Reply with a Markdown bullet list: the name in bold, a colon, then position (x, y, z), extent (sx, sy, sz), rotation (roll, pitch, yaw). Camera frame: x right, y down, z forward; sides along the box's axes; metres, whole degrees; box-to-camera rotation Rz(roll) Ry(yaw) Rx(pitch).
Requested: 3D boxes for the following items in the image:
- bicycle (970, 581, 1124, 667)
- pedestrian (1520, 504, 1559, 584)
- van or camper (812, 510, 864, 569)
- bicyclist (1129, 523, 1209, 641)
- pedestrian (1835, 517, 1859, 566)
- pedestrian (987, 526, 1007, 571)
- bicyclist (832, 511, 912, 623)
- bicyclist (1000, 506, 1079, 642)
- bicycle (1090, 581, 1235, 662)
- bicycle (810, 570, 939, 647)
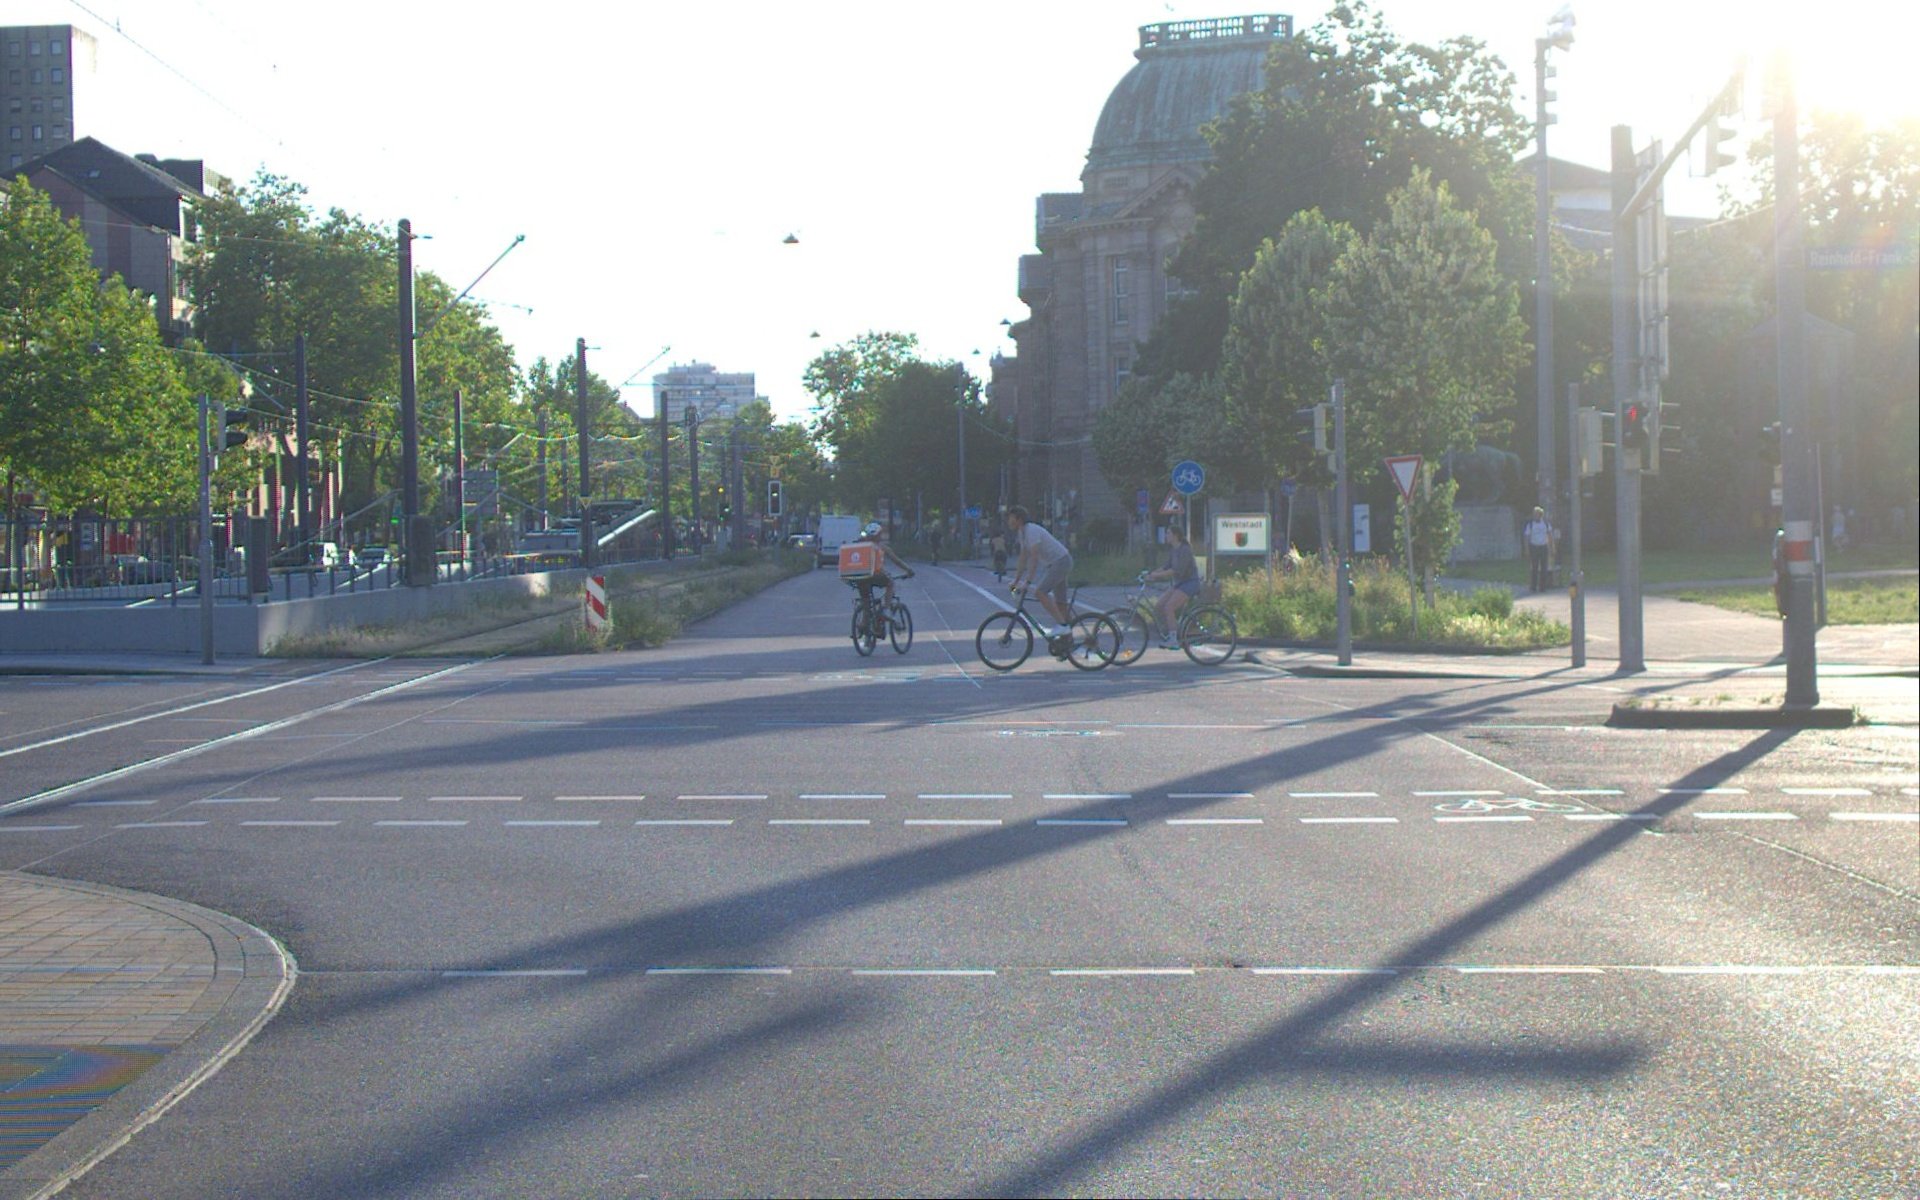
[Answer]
- **bicycle**: position (1.022, 0.277, 40.607), extent (1.728, 0.966, 0.610), rotation (-1, 2, -9)
- **pedestrian**: position (11.987, -1.162, 71.129), extent (0.682, 1.605, 0.613), rotation (-1, 2, -1)
- **van or camper**: position (-5.747, -2.860, 161.940), extent (2.263, 2.616, 4.503), rotation (-1, 2, 0)
- **bicyclist**: position (2.606, -0.234, 42.994), extent (0.853, 1.437, 0.663), rotation (-2, 2, -9)
- **pedestrian**: position (30.843, -2.027, 119.566), extent (0.798, 1.696, 0.800), rotation (0, 1, 14)
- **pedestrian**: position (1.241, -1.726, 115.048), extent (0.616, 1.470, 0.800), rotation (-1, 2, 3)
- **bicyclist**: position (-1.163, -0.444, 45.634), extent (0.662, 1.437, 0.854), rotation (3, 4, 41)
- **bicyclist**: position (0.933, -0.318, 40.556), extent (0.797, 1.566, 0.663), rotation (-2, 2, -9)
- **bicycle**: position (2.532, 0.261, 43.000), extent (1.718, 0.966, 0.610), rotation (-1, 2, -9)
- **bicycle**: position (-1.134, 0.107, 45.741), extent (0.703, 0.966, 1.730), rotation (4, 3, 41)
